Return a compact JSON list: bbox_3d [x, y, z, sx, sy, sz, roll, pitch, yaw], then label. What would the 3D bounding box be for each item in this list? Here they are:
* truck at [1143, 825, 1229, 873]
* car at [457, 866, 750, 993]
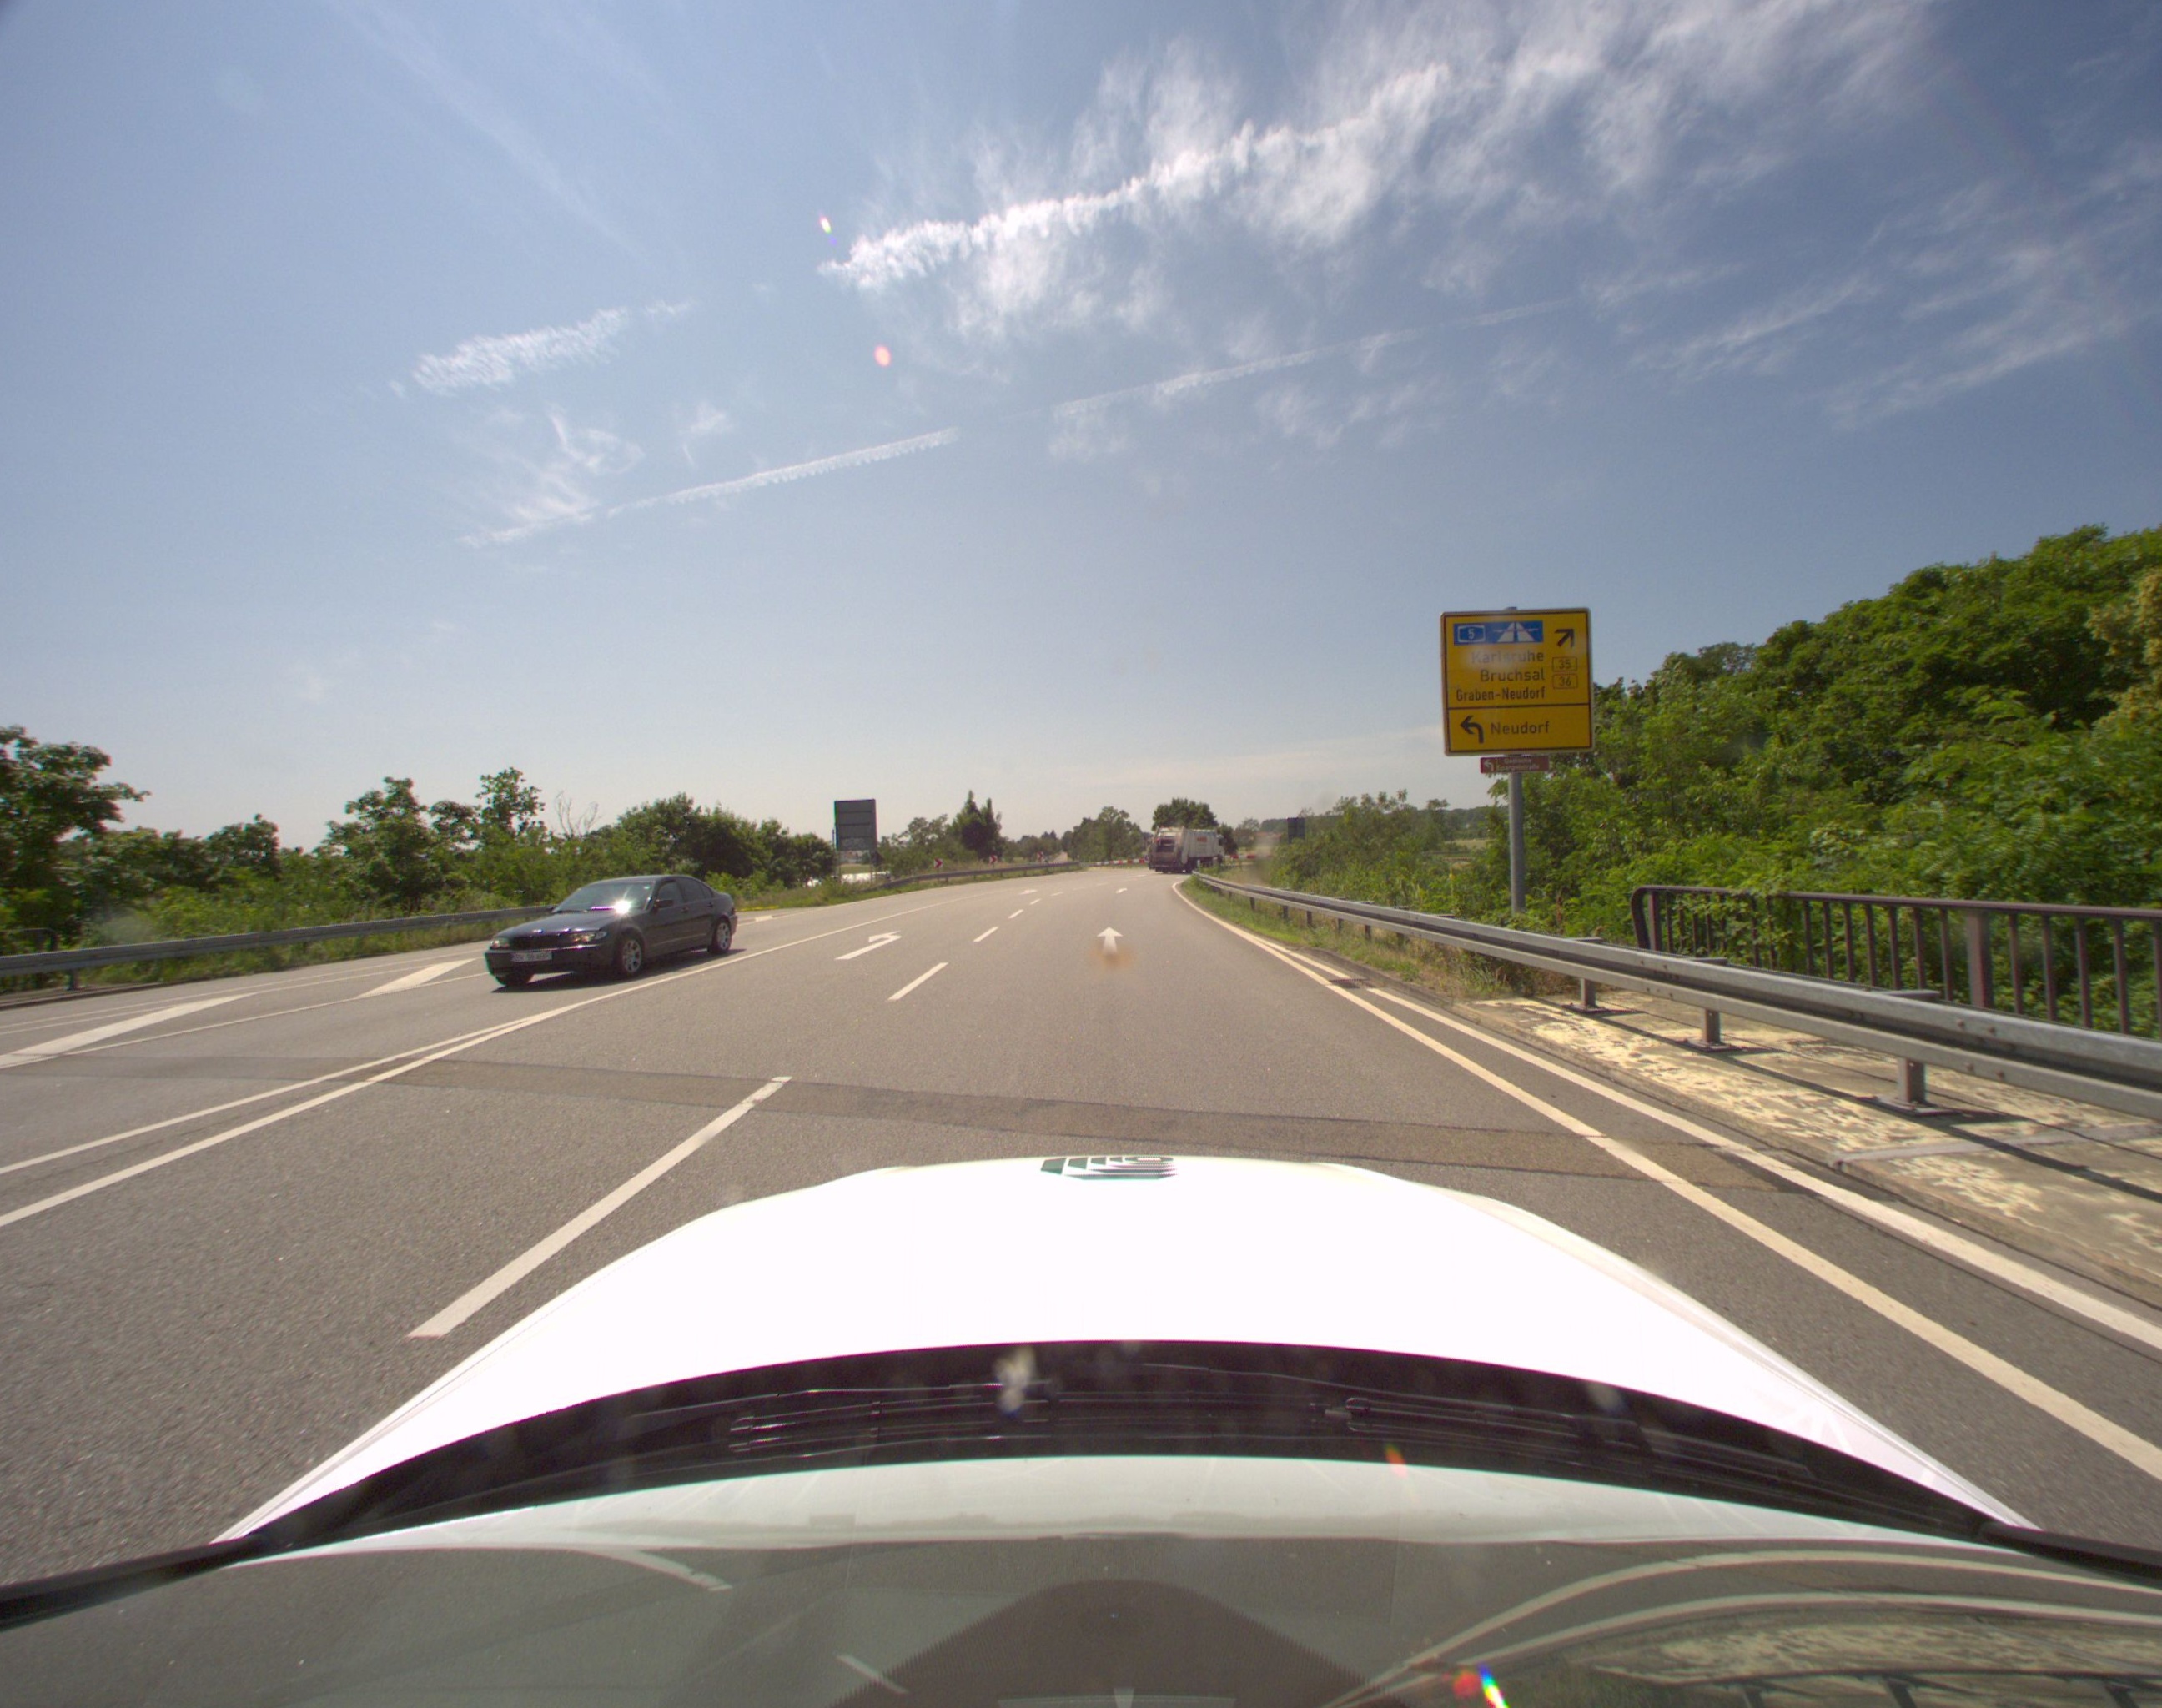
[{"bbox_3d":[8.731,-0.368,66.315,2.785,3.669,10.011,-1,0,33],"label":"truck"},{"bbox_3d":[-6.960,0.995,12.540,1.728,1.401,4.383,-4,1,2],"label":"car"}]
